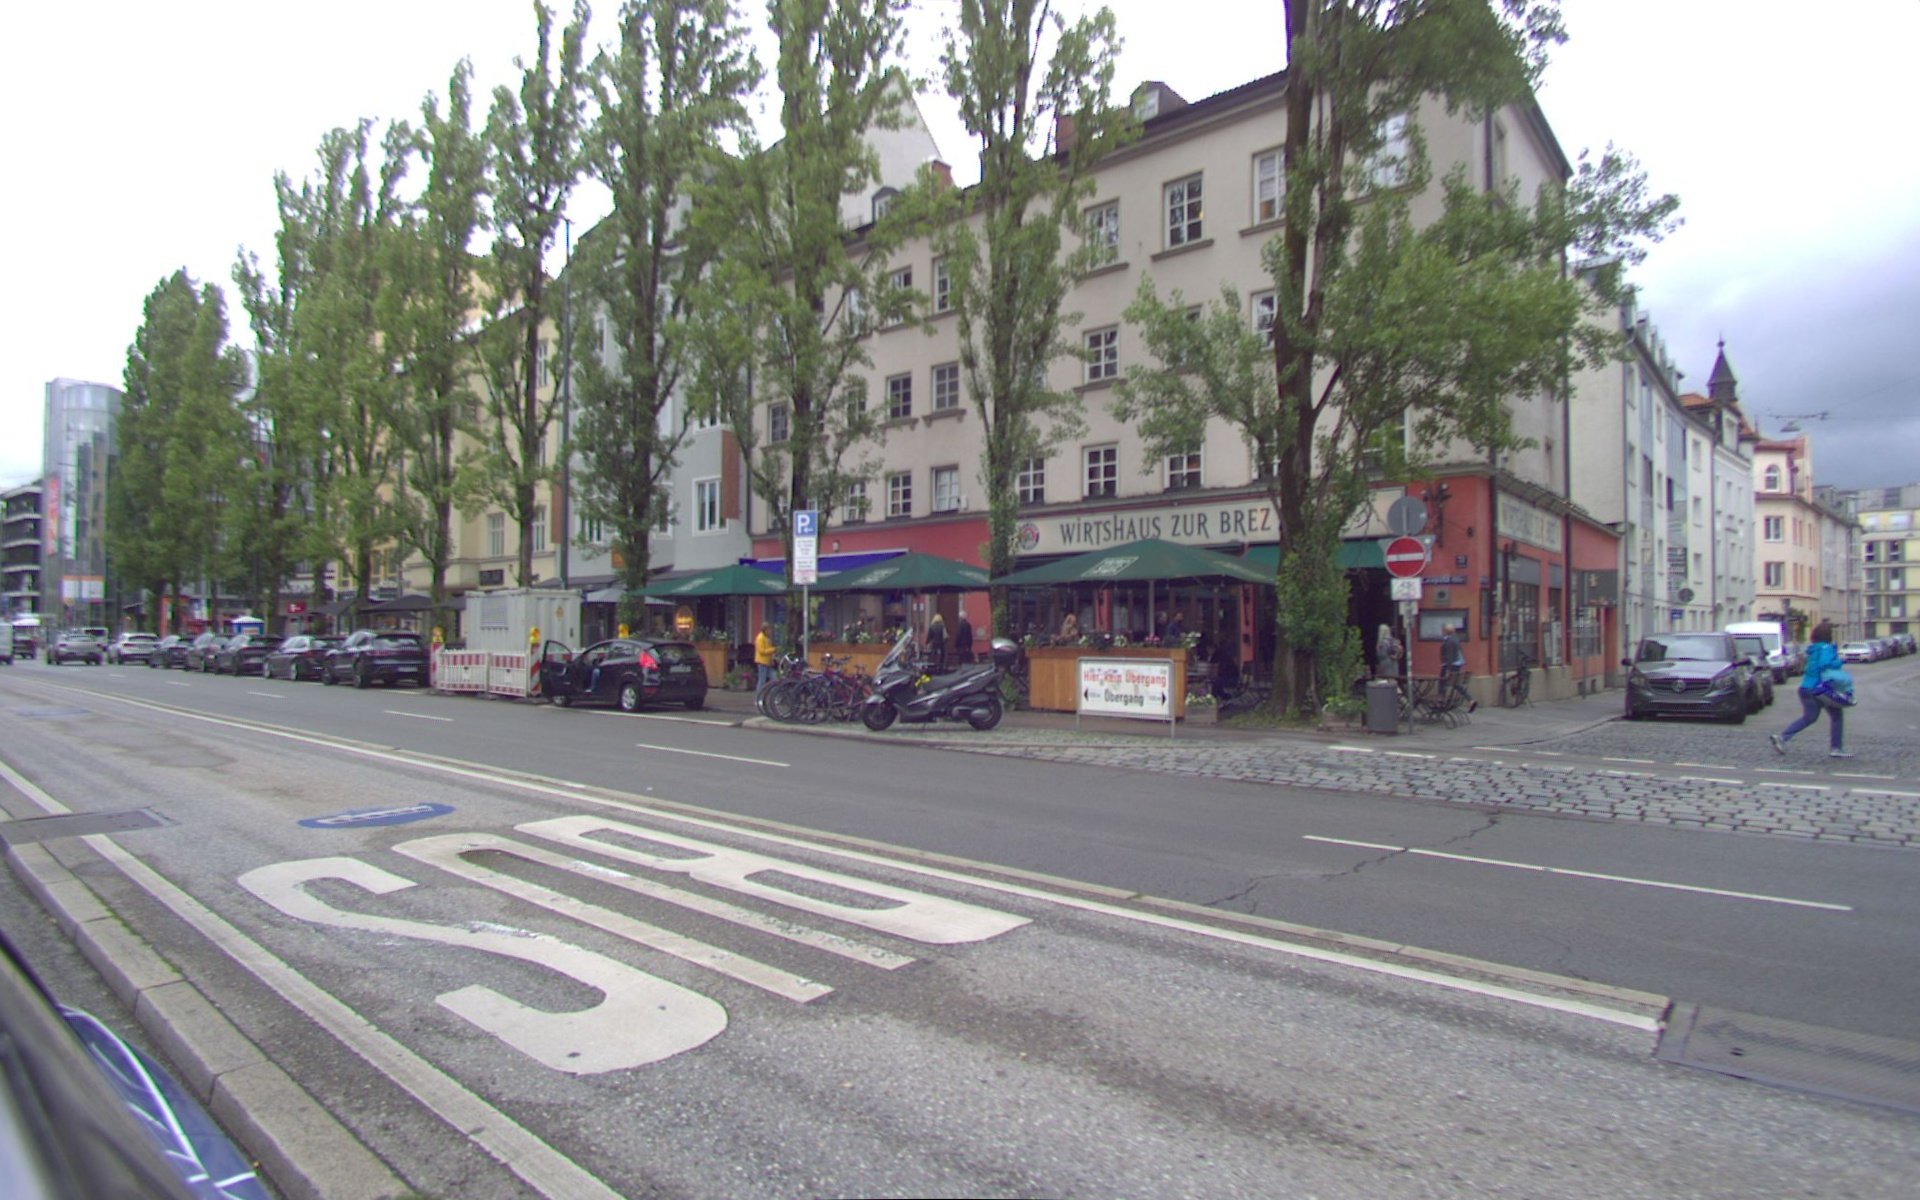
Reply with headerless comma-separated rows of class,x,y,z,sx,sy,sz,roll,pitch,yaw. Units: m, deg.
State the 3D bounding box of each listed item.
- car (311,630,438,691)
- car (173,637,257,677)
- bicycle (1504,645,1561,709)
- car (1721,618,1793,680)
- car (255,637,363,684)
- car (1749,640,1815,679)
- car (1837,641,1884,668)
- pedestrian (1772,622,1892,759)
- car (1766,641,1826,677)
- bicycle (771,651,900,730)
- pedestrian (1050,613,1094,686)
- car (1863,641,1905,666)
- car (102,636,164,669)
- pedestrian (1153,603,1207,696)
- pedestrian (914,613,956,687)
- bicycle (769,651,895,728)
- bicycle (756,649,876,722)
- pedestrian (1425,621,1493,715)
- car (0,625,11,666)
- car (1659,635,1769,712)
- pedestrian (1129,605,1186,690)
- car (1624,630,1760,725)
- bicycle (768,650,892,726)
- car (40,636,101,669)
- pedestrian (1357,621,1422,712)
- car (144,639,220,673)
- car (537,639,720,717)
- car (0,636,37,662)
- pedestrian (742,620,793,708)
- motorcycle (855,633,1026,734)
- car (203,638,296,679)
car,-16.975,1.716,29.255,4.572,1.625,1.778,-2,-3,41
car,-30.341,2.288,41.175,4.572,1.515,1.778,-2,-3,41
bicycle,11.831,1.553,20.868,0.645,1.214,2.317,-2,-3,39
car,32.319,1.992,40.995,1.982,2.384,4.523,-2,-4,41
car,-21.440,1.937,33.246,4.572,1.451,1.778,-2,-3,41
car,39.246,2.843,48.300,1.984,1.780,4.520,-2,-4,45
car,60.665,3.681,68.137,4.518,1.780,1.985,4,-4,-44
pedestrian,11.001,1.117,12.810,0.945,1.659,0.694,-1,-2,25
car,43.660,3.082,52.802,1.984,1.780,4.520,-2,-4,45
bicycle,-1.934,1.392,15.746,1.949,1.134,0.362,-1,0,-12
pedestrian,2.563,1.120,23.163,0.732,1.636,0.690,-2,-3,44
car,69.169,4.023,75.724,4.517,1.780,1.985,3,-4,-43
car,-42.393,2.666,51.867,4.102,1.590,1.778,-2,-3,41
pedestrian,4.767,1.064,21.916,0.905,1.941,0.690,-2,-3,44
pedestrian,-0.677,1.334,27.249,0.905,1.941,0.690,-2,-3,44
bicycle,-2.030,1.401,16.074,1.949,1.134,0.283,-1,0,-12
bicycle,-2.421,1.423,17.033,1.949,1.134,0.343,-1,0,-12
pedestrian,9.375,1.250,19.029,0.689,1.659,0.930,0,1,-44
car,-47.659,2.198,48.920,5.066,1.947,1.873,-2,-3,39
car,19.458,1.849,26.048,1.982,1.780,4.525,-2,-4,40
pedestrian,4.150,0.986,21.300,0.950,1.735,0.690,-2,-3,44
car,15.539,1.579,21.381,1.982,1.780,4.525,-2,-4,40
bicycle,-2.091,1.403,16.351,1.949,1.134,0.283,-1,0,-12
car,-43.822,2.584,49.859,4.075,1.553,1.695,-2,-4,41
pedestrian,8.083,1.228,19.055,0.689,1.659,0.930,2,-3,-44
car,-34.489,2.446,44.808,4.572,1.451,1.778,-2,-3,41
car,-6.816,1.536,20.709,3.779,1.433,1.739,-2,-3,38
car,-58.575,2.996,62.510,4.360,1.530,1.728,-2,-3,40
pedestrian,-3.900,1.276,20.509,0.731,1.739,0.691,-2,-3,38
motorcycle,-0.270,1.199,14.822,2.426,1.425,0.744,0,-2,8
car,-26.379,2.128,37.505,4.572,1.451,1.778,-2,-3,41
